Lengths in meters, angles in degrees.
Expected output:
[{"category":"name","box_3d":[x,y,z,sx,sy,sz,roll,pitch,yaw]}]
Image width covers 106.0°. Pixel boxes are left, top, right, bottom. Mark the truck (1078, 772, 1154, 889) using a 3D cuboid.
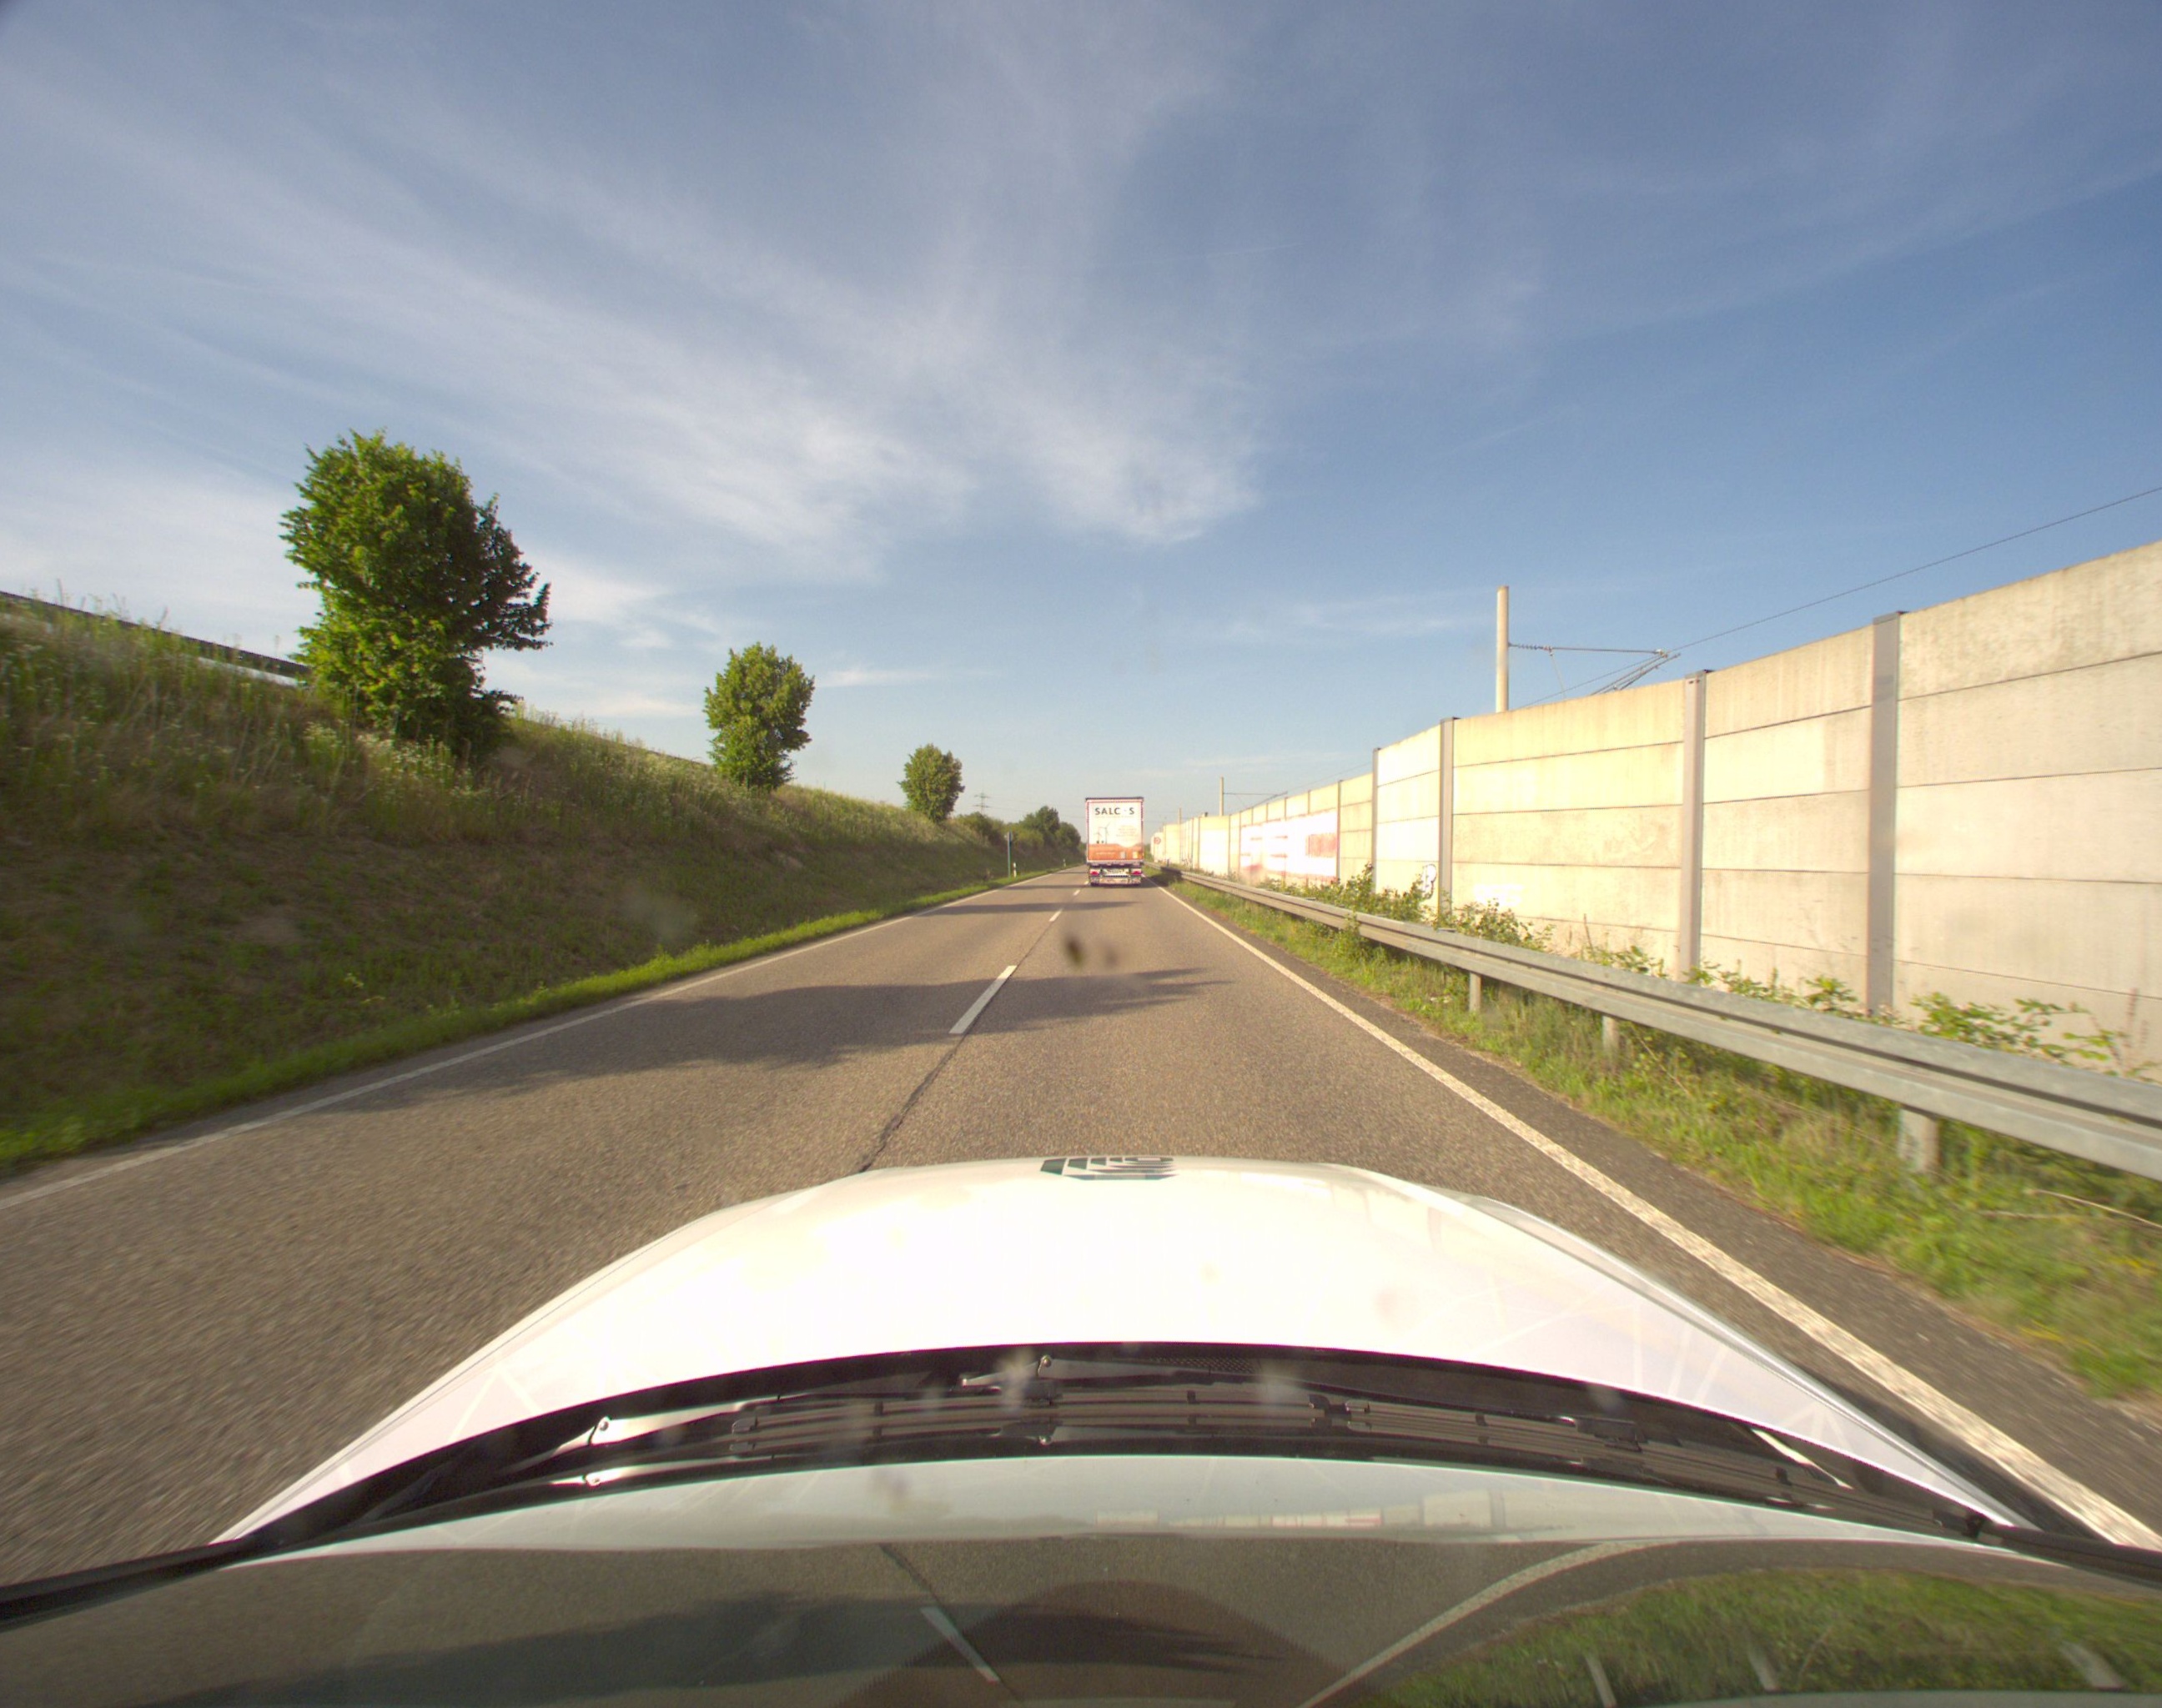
[{"category":"truck","box_3d":[1.644,-1.084,41.895,3.279,5.090,12.040,-1,0,1]}]
